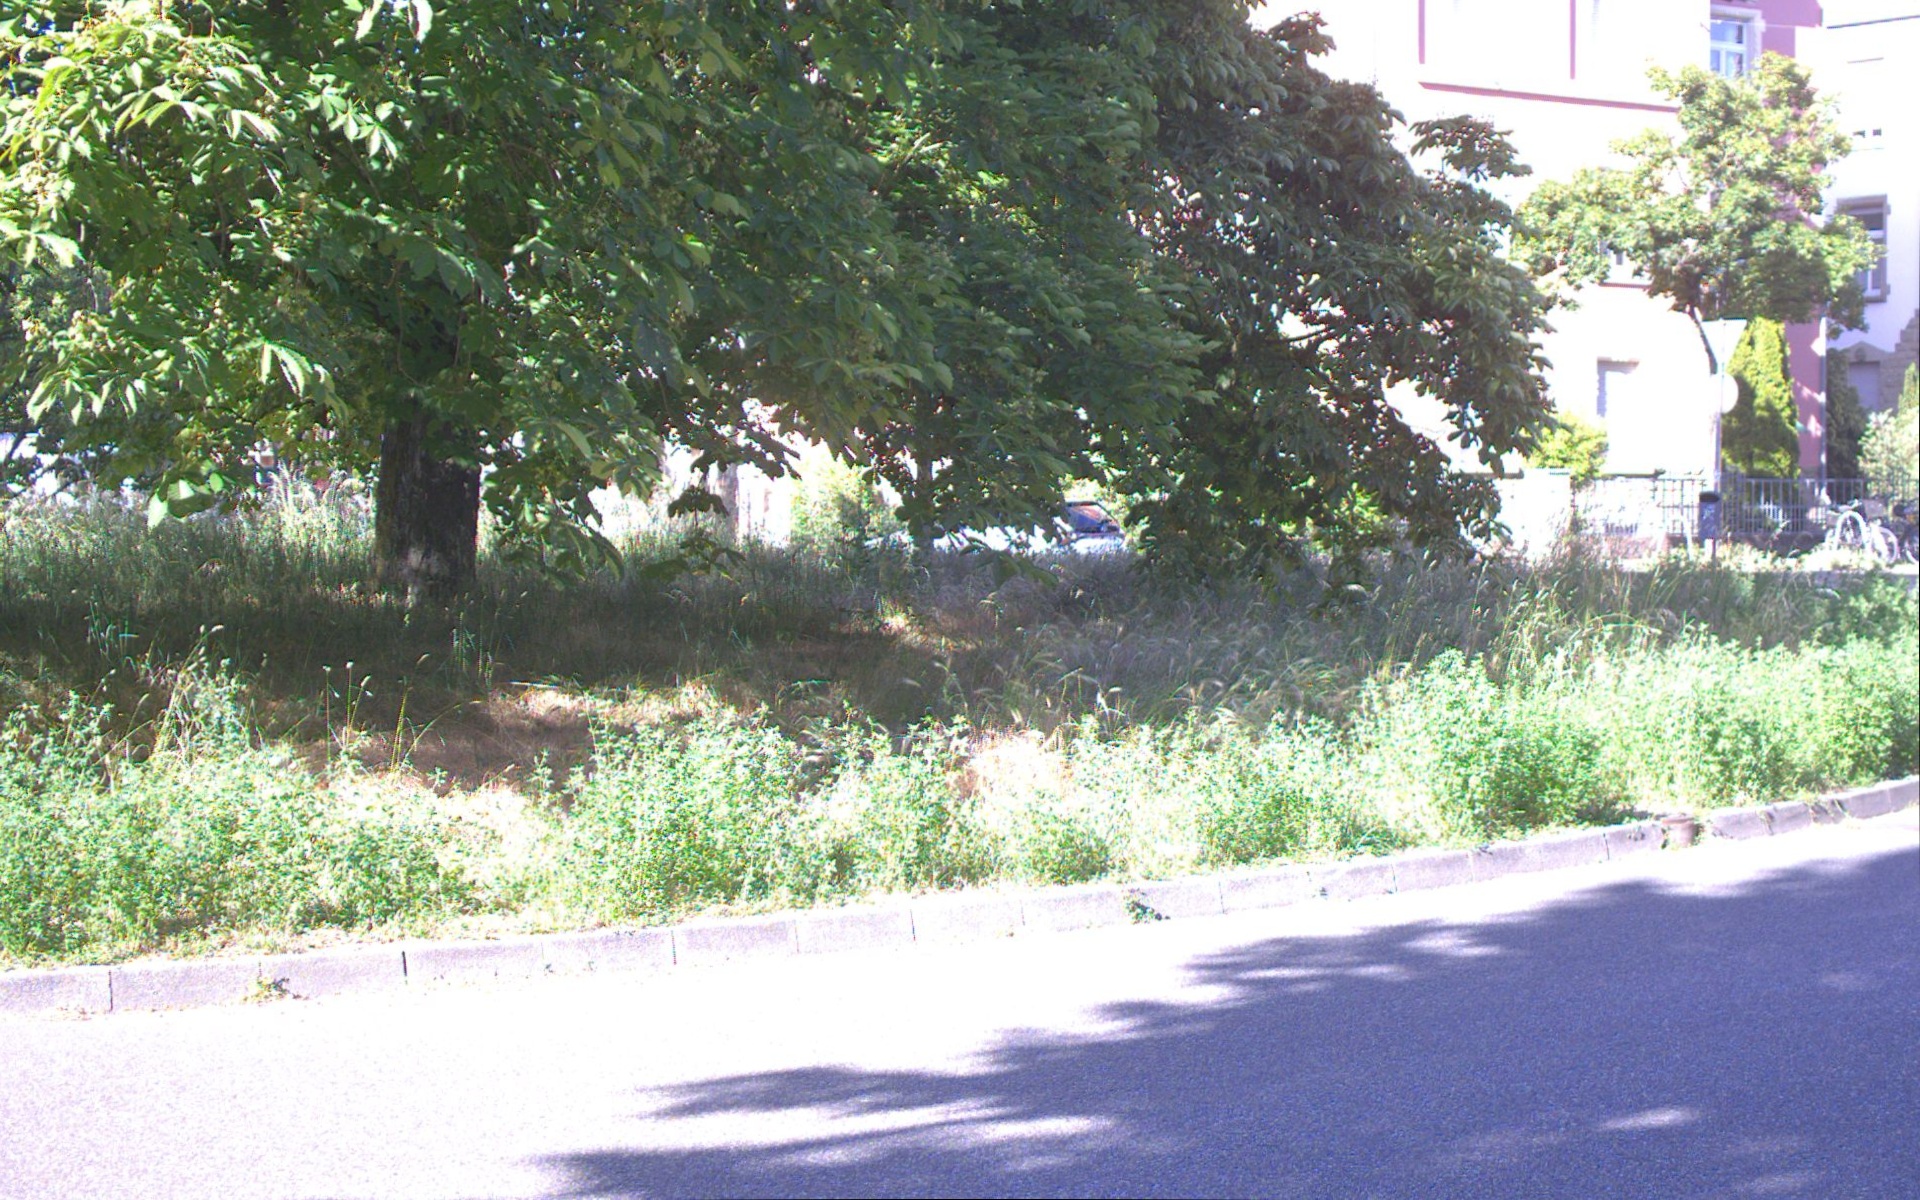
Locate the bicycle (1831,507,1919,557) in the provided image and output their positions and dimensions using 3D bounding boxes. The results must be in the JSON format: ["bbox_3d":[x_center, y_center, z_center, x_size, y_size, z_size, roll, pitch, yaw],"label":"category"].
[{"bbox_3d":[15.298,-1.140,57.210,0.477,0.797,2.287,-1,2,-16],"label":"bicycle"}]

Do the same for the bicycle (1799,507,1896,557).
[{"bbox_3d":[14.707,-1.143,57.004,0.477,0.797,2.029,-1,2,-20],"label":"bicycle"}]

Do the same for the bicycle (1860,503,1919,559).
[{"bbox_3d":[15.861,-1.160,57.516,0.477,0.911,2.287,-1,2,-16],"label":"bicycle"}]

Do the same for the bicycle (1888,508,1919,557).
[{"bbox_3d":[16.572,-1.143,58.348,0.477,0.820,2.287,-1,2,-16],"label":"bicycle"}]

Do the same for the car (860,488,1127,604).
[{"bbox_3d":[0.448,-0.786,48.082,3.643,1.546,1.556,2,3,43],"label":"car"}]

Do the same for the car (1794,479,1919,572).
[{"bbox_3d":[14.544,-1.159,52.269,3.634,1.364,1.759,-2,3,-39],"label":"car"}]
